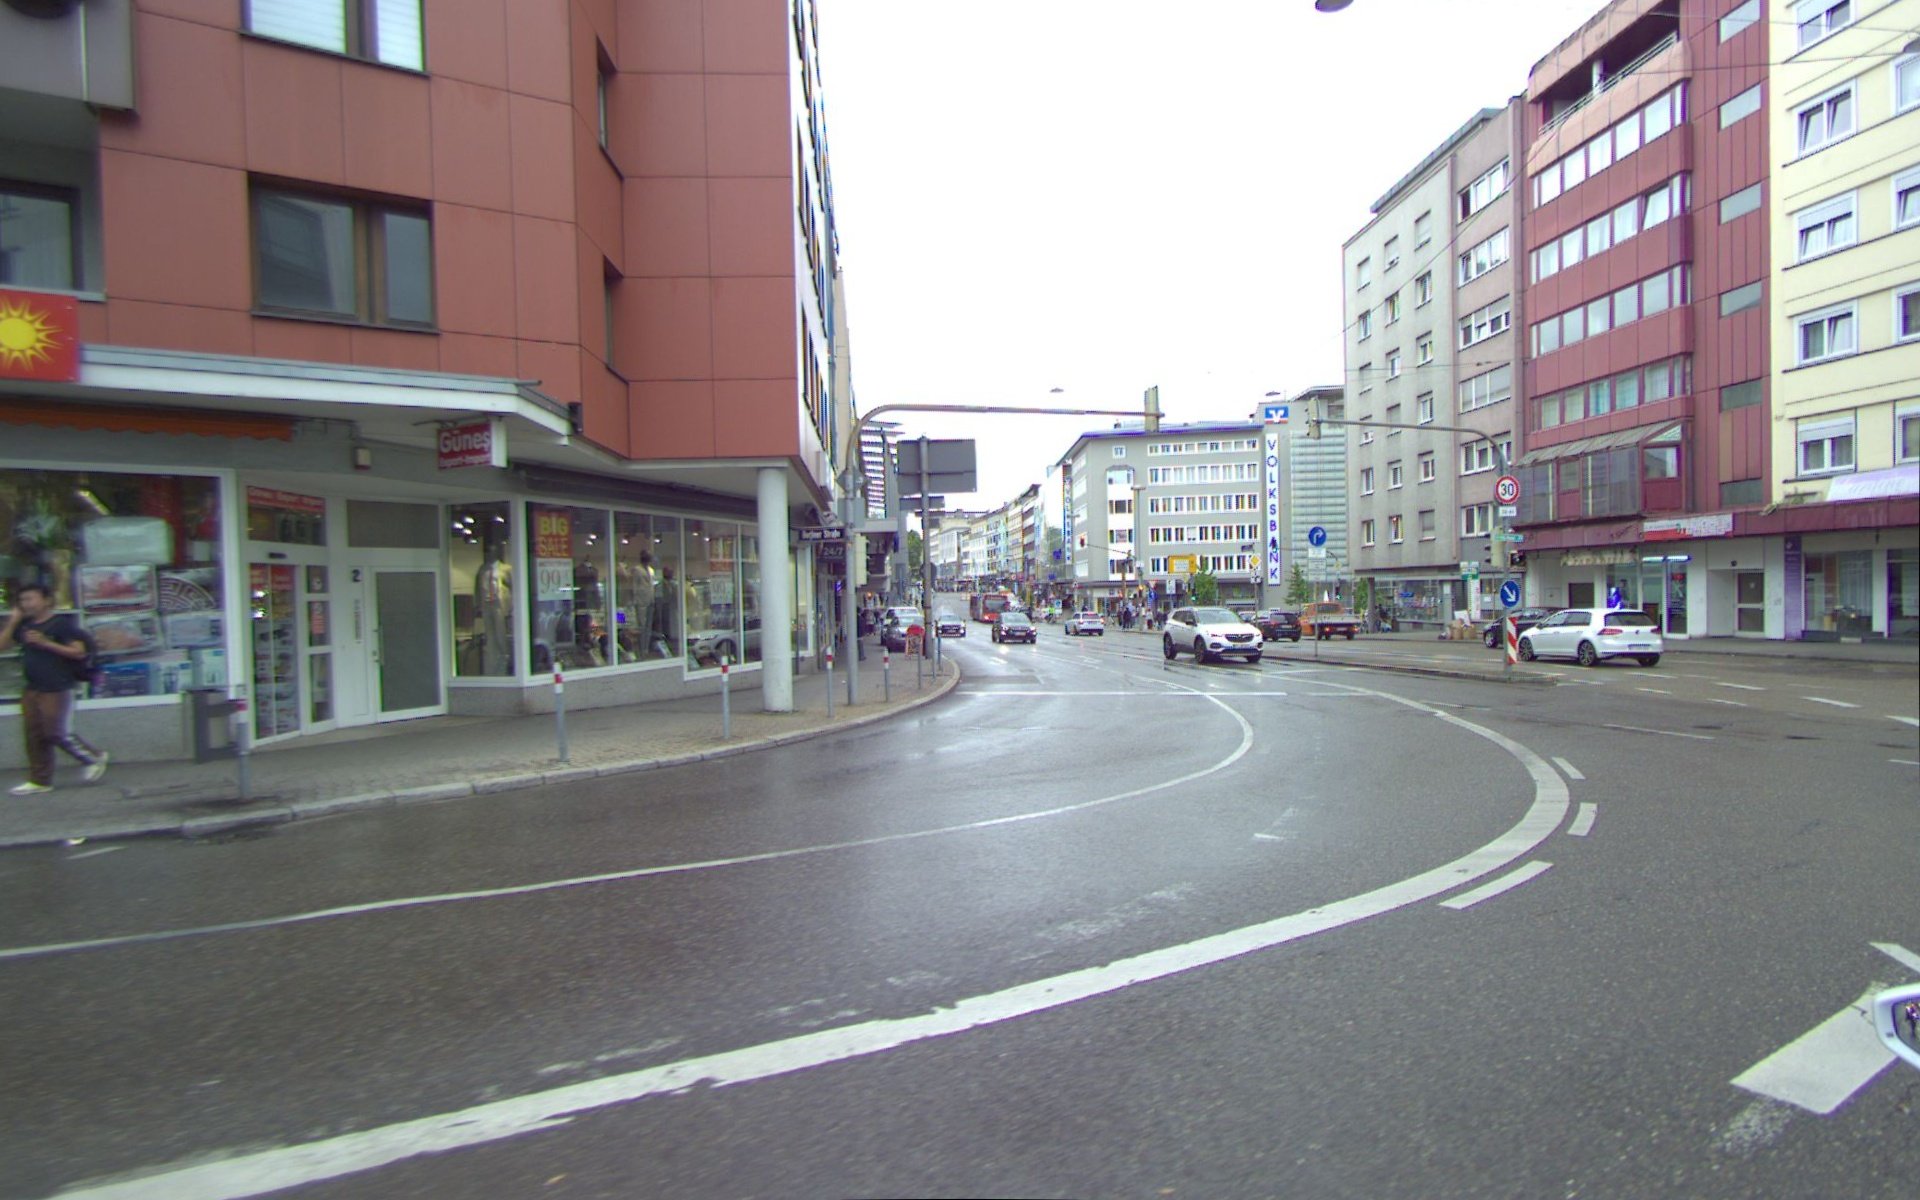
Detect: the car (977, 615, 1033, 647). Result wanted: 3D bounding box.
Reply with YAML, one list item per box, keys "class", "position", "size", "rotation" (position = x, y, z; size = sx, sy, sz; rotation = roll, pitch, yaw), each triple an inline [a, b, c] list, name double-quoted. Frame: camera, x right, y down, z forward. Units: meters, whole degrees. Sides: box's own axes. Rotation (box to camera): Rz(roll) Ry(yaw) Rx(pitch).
- class: "car"
  position: [2.152, 1.500, 49.528]
  size: [1.963, 1.501, 4.730]
  rotation: [0, -1, -8]

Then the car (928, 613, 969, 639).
- class: "car"
  position: [-0.723, 1.551, 61.171]
  size: [1.963, 1.501, 4.730]
  rotation: [0, -1, -8]

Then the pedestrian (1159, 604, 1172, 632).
- class: "pedestrian"
  position: [14.923, 1.292, 73.010]
  size: [0.797, 2.040, 0.855]
  rotation: [2, -1, 6]

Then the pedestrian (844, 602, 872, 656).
- class: "pedestrian"
  position: [-3.205, 0.910, 31.488]
  size: [0.815, 1.647, 0.722]
  rotation: [2, 1, -9]

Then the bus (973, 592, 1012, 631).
- class: "bus"
  position: [3.397, 1.280, 107.236]
  size: [2.864, 4.005, 9.478]
  rotation: [1, -1, -6]

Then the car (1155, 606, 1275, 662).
- class: "car"
  position: [7.695, 0.987, 30.853]
  size: [1.963, 1.577, 4.730]
  rotation: [0, -1, -8]

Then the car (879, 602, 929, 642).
- class: "car"
  position: [-2.642, 0.958, 46.388]
  size: [1.963, 1.640, 4.730]
  rotation: [2, 0, -6]

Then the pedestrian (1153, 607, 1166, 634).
- class: "pedestrian"
  position: [14.910, 1.529, 75.173]
  size: [0.797, 2.040, 0.855]
  rotation: [2, -1, 6]

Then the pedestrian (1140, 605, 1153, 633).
- class: "pedestrian"
  position: [13.742, 1.386, 74.051]
  size: [0.797, 2.040, 0.855]
  rotation: [2, -1, 6]

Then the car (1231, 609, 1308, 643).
- class: "car"
  position: [14.881, 1.251, 48.586]
  size: [1.963, 1.505, 4.232]
  rotation: [2, -1, -8]

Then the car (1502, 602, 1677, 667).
- class: "car"
  position: [16.623, 0.842, 26.828]
  size: [1.843, 1.515, 4.399]
  rotation: [1, 0, -1]

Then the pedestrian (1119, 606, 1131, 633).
- class: "pedestrian"
  position: [12.303, 1.449, 74.773]
  size: [0.797, 2.040, 0.855]
  rotation: [2, -1, 6]

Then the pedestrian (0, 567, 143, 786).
- class: "pedestrian"
  position: [-8.046, 0.653, 8.991]
  size: [0.813, 1.856, 0.724]
  rotation: [2, 0, 4]

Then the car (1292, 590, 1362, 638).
- class: "car"
  position: [19.135, 0.684, 52.601]
  size: [2.204, 2.257, 5.431]
  rotation: [3, 0, 8]

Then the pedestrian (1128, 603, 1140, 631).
- class: "pedestrian"
  position: [13.213, 1.290, 76.474]
  size: [0.797, 2.040, 0.855]
  rotation: [2, -1, 6]

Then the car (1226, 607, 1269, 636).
- class: "car"
  position: [17.177, 1.265, 60.191]
  size: [1.892, 1.535, 4.665]
  rotation: [5, 1, 10]

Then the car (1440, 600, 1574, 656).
- class: "car"
  position: [19.281, 0.929, 35.662]
  size: [1.795, 1.680, 4.489]
  rotation: [3, 0, -8]

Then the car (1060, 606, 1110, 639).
- class: "car"
  position: [7.812, 1.369, 63.128]
  size: [1.963, 1.813, 4.729]
  rotation: [2, 1, -7]

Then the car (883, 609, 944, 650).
- class: "car"
  position: [-1.912, 1.121, 39.897]
  size: [1.963, 1.426, 4.729]
  rotation: [2, 0, -8]

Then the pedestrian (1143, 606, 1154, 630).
- class: "pedestrian"
  position: [16.803, 1.599, 89.441]
  size: [0.797, 2.040, 0.855]
  rotation: [2, -1, 6]

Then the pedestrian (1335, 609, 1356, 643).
- class: "pedestrian"
  position: [23.876, 1.618, 62.235]
  size: [0.846, 2.040, 0.807]
  rotation: [2, -1, -33]

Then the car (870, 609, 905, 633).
- class: "car"
  position: [-4.753, 1.315, 65.174]
  size: [1.963, 1.501, 4.730]
  rotation: [0, -1, -8]
